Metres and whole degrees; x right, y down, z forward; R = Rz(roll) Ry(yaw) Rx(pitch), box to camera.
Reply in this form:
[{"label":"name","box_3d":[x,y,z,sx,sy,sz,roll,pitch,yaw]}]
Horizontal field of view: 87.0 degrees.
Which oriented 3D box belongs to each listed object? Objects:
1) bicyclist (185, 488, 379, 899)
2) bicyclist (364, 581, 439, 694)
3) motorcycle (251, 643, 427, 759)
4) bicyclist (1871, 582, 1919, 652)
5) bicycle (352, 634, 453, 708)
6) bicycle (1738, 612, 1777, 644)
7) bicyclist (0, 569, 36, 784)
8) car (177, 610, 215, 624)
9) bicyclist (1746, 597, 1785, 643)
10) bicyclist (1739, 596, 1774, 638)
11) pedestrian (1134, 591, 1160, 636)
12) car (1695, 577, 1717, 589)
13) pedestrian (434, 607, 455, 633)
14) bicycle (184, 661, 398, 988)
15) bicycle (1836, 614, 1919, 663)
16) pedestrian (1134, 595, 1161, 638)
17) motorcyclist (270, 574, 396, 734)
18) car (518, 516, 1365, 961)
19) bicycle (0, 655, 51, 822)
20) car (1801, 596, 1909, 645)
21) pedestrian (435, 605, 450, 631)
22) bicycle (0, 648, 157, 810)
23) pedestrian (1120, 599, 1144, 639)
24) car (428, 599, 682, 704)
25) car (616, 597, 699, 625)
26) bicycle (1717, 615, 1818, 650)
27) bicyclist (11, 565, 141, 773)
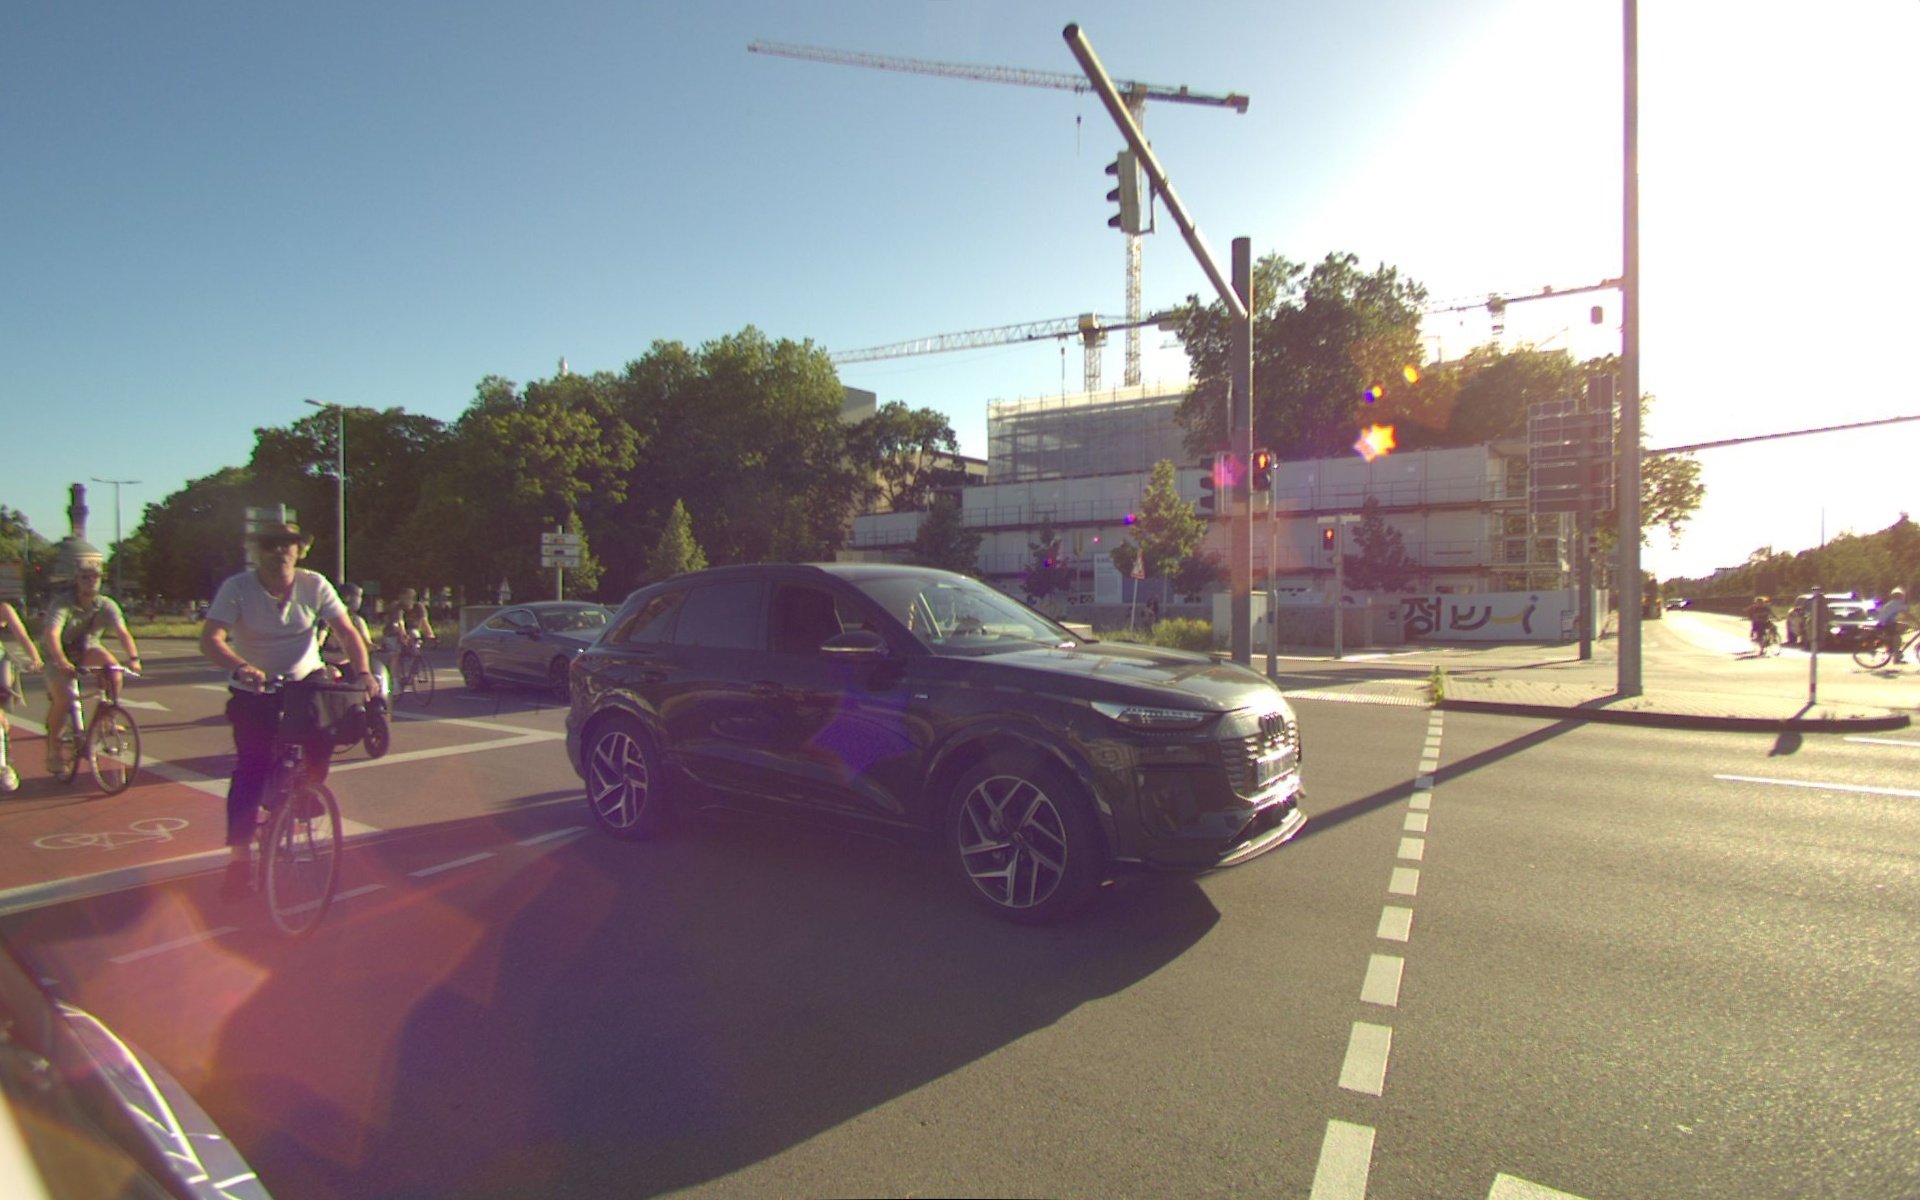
[{"label":"bicyclist","box_3d":[-3.127,0.384,4.667,0.690,1.682,0.788,0,0,-36]},{"label":"bicyclist","box_3d":[-7.835,0.505,14.199,0.937,1.514,0.616,-1,1,41]},{"label":"motorcycle","box_3d":[-6.129,0.941,9.947,1.955,0.976,0.748,-1,1,35]},{"label":"bicyclist","box_3d":[19.493,0.353,20.918,0.841,1.412,0.796,-2,-1,34]},{"label":"bicycle","box_3d":[-7.861,0.968,14.229,1.909,0.915,0.616,-1,1,41]},{"label":"bicycle","box_3d":[25.305,0.888,32.148,0.803,0.934,2.053,-2,-1,35]},{"label":"bicyclist","box_3d":[-7.373,0.559,7.492,0.846,1.554,0.644,-1,0,37]},{"label":"car","box_3d":[-64.182,1.397,85.016,3.766,1.141,1.599,0,1,38]},{"label":"bicyclist","box_3d":[22.830,0.569,28.687,0.792,1.280,0.639,-1,-1,-34]},{"label":"bicyclist","box_3d":[25.308,0.524,32.169,0.804,1.307,0.767,-2,-1,35]},{"label":"pedestrian","box_3d":[7.178,0.523,38.770,0.654,1.693,0.829,-1,0,40]},{"label":"car","box_3d":[84.798,-1.930,115.054,1.781,1.335,3.956,0,2,33]},{"label":"pedestrian","box_3d":[-36.574,1.388,71.748,0.963,1.796,0.984,0,1,40]},{"label":"bicycle","box_3d":[-3.116,0.885,4.671,0.697,1.102,1.804,0,0,-36]},{"label":"bicycle","box_3d":[19.524,0.786,20.878,2.072,0.986,0.796,-2,-1,34]},{"label":"pedestrian","box_3d":[7.000,0.600,37.791,0.654,1.601,0.829,-1,0,40]},{"label":"motorcyclist","box_3d":[-6.171,0.499,9.966,0.879,1.495,0.748,-1,0,35]},{"label":"car","box_3d":[-0.332,0.533,6.103,4.782,1.675,2.175,-1,0,36]},{"label":"bicycle","box_3d":[-7.393,0.995,7.502,1.797,1.102,0.644,-1,0,37]},{"label":"car","box_3d":[27.457,0.602,31.181,1.995,1.386,3.953,-2,-1,35]},{"label":"pedestrian","box_3d":[-35.475,1.220,69.391,0.697,1.739,0.656,-1,0,39]},{"label":"bicycle","box_3d":[-7.209,0.984,8.232,1.812,1.125,0.618,-1,0,36]},{"label":"pedestrian","box_3d":[6.325,0.697,37.231,0.654,1.464,0.596,-1,0,40]},{"label":"car","box_3d":[-6.350,0.688,15.618,4.523,1.362,1.753,0,1,41]},{"label":"car","box_3d":[-20.998,0.747,70.403,1.999,1.906,5.258,-2,-1,41]},{"label":"bicycle","box_3d":[22.837,0.907,28.663,0.792,0.934,2.082,-1,-1,-34]},{"label":"bicyclist","box_3d":[-7.186,0.526,8.225,0.893,1.587,0.618,-1,0,36]}]
